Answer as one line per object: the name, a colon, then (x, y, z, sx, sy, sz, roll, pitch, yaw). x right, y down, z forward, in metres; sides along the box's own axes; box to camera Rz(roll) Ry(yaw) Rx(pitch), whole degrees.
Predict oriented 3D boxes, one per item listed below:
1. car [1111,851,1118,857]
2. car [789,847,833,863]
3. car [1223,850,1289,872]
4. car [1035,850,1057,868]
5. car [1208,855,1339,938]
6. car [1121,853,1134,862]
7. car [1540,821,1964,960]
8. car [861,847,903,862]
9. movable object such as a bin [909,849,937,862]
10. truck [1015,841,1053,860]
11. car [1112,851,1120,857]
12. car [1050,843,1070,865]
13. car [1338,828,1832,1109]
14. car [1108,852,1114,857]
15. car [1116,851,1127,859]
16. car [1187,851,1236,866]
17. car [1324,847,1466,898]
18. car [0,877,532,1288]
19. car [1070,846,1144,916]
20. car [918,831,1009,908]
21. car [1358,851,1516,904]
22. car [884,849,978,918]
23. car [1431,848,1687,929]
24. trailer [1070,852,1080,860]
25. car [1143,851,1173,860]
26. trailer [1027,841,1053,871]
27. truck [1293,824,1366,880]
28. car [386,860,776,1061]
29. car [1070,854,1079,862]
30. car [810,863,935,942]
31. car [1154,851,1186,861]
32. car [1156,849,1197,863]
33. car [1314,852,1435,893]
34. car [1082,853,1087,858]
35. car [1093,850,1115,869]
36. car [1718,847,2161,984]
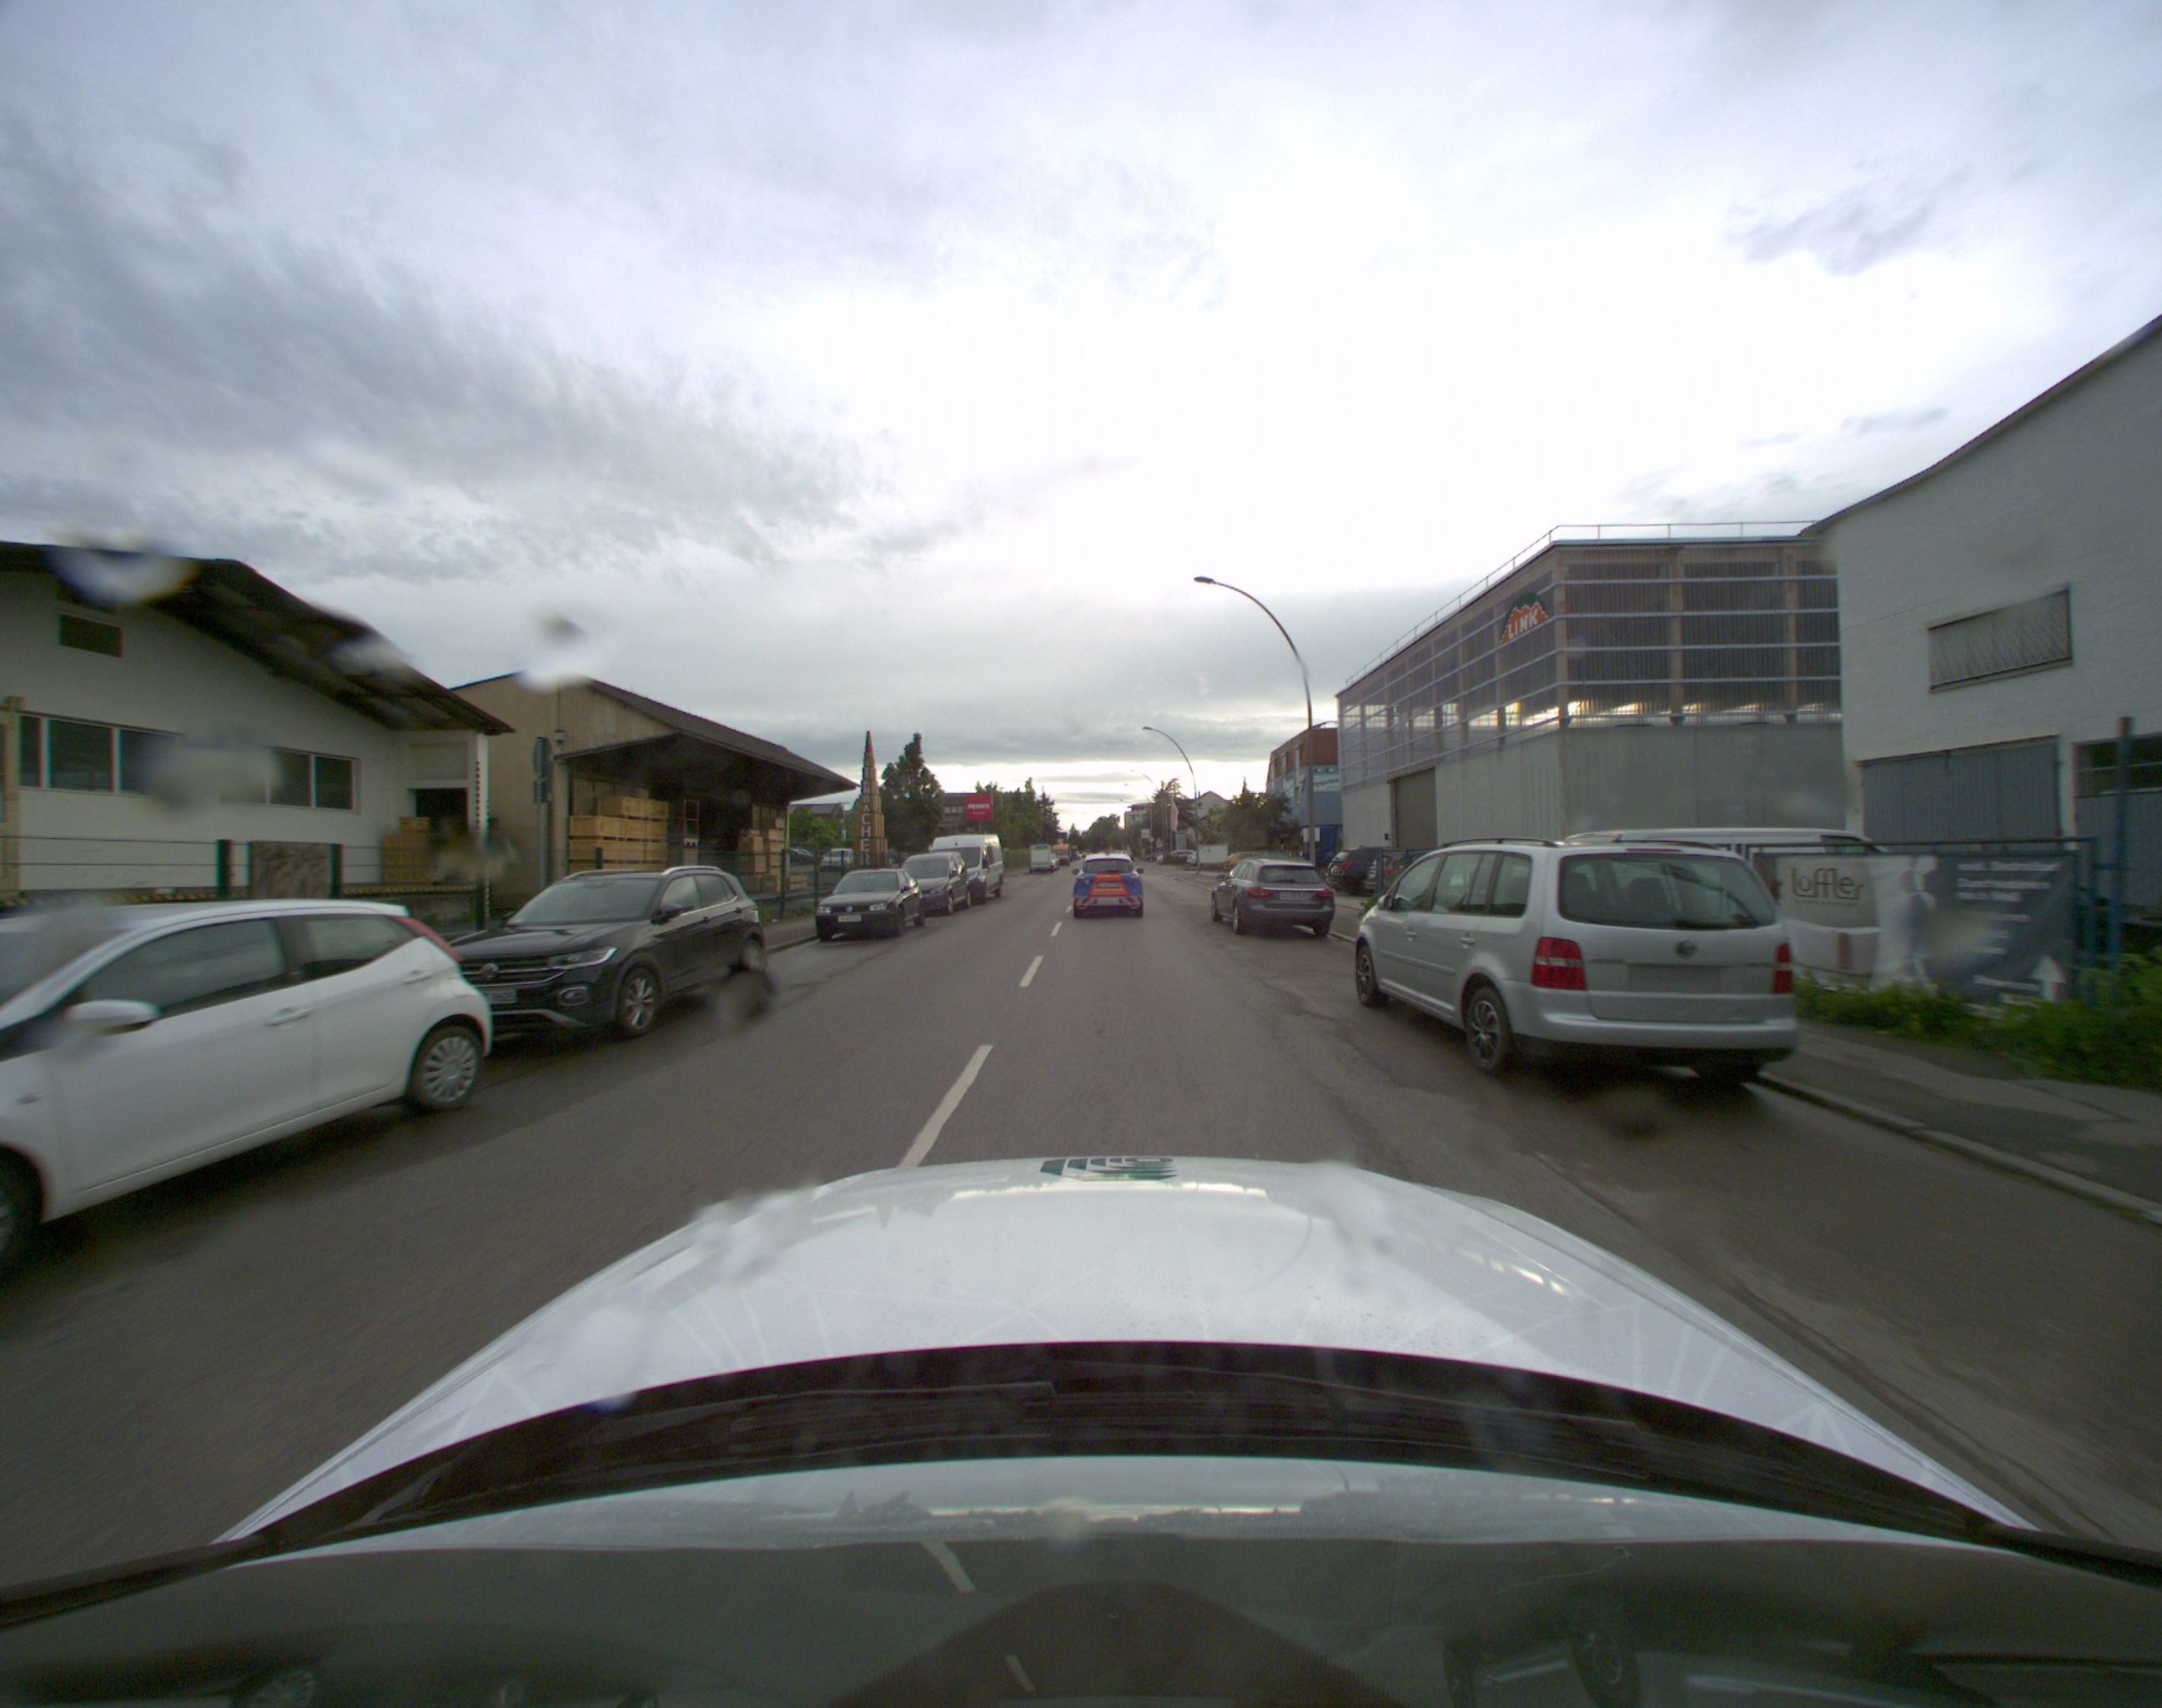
car: (9.196, 0.021, 222.208, 1.645, 1.671, 3.999, 0, 0, 0)
car: (-27.505, 0.093, 83.140, 3.982, 1.606, 1.768, 0, 0, -6)
car: (11.370, 0.454, 53.185, 3.974, 1.430, 1.630, -1, 0, -1)
car: (-3.102, 0.447, 72.717, 1.766, 1.498, 4.137, -1, 1, 1)
car: (3.807, 0.771, 16.866, 1.732, 1.466, 4.547, 0, 0, 1)
car: (6.805, 0.537, 119.849, 1.584, 1.341, 4.092, -1, 0, 0)
car: (9.786, 0.501, 12.208, 4.714, 1.886, 2.000, 0, 0, 1)
car: (-21.218, 0.050, 86.993, 4.046, 1.551, 1.883, 0, 0, -4)
movable object such as a bin: (-20.979, 0.198, 108.363, 3.416, 1.759, 1.996, 0, 0, -5)
truck: (-7.628, -0.619, 132.486, 5.889, 3.073, 2.450, 0, 0, 1)
car: (8.619, -0.007, 200.435, 1.645, 1.521, 3.999, 0, 0, 0)
car: (-2.526, -0.003, 97.751, 2.117, 2.537, 6.022, -2, 0, 0)
car: (3.628, 0.674, 6.958, 1.731, 1.621, 4.377, 0, 0, 3)
car: (9.382, 0.102, 254.151, 1.645, 1.483, 3.999, 0, 0, 0)
car: (7.527, 0.247, 152.029, 1.706, 1.438, 4.524, 0, 0, -1)
car: (12.636, 0.403, 79.022, 4.401, 1.393, 1.880, 0, 0, 0)
car: (10.783, 0.621, 28.180, 4.208, 1.675, 1.982, 0, 0, 3)
car: (-4.945, 0.948, 4.201, 1.610, 1.509, 3.662, -2, 0, 2)
car: (0.636, 0.647, 21.015, 1.726, 1.631, 3.495, -1, 0, 1)
car: (-4.238, 0.512, 30.513, 2.150, 2.427, 6.461, -4, 0, 1)
car: (11.190, 0.716, 25.787, 4.228, 1.536, 1.812, 1, 0, 1)
car: (-4.434, 0.829, 24.720, 1.763, 1.768, 4.448, -4, 0, 2)
car: (10.167, 0.701, 17.570, 4.430, 1.624, 1.893, 0, 0, 0)
trailer: (-1.133, 0.309, 147.024, 1.712, 1.260, 5.243, 0, 2, -1)
car: (10.828, 0.221, 114.469, 3.974, 1.266, 1.950, 0, 0, -1)
trailer: (-3.377, 0.186, 67.911, 1.806, 2.314, 4.731, -3, 0, 1)
truck: (17.328, -0.128, 56.987, 4.132, 3.673, 2.719, 2, 0, -1)
car: (-4.888, 0.900, 8.726, 1.655, 1.584, 3.916, -3, 0, 1)
car: (-1.254, 0.813, 154.685, 1.551, 1.433, 4.001, 0, 0, 1)
car: (-4.513, 0.985, 18.278, 1.656, 1.448, 4.316, -2, 0, 0)
car: (11.193, 0.237, 102.783, 3.970, 1.266, 1.952, 0, 0, 3)
car: (10.459, 0.251, 89.625, 4.323, 1.475, 1.903, 0, 0, 0)
car: (11.051, 0.681, 30.850, 3.950, 1.490, 1.834, 0, 0, 2)
car: (0.992, 0.465, 233.059, 1.382, 1.483, 3.783, -1, 0, 0)
car: (1.862, 0.443, 66.742, 1.645, 1.521, 3.999, 0, 0, 0)
car: (10.464, 0.664, 9.781, 4.088, 1.457, 2.001, 0, 0, 1)
